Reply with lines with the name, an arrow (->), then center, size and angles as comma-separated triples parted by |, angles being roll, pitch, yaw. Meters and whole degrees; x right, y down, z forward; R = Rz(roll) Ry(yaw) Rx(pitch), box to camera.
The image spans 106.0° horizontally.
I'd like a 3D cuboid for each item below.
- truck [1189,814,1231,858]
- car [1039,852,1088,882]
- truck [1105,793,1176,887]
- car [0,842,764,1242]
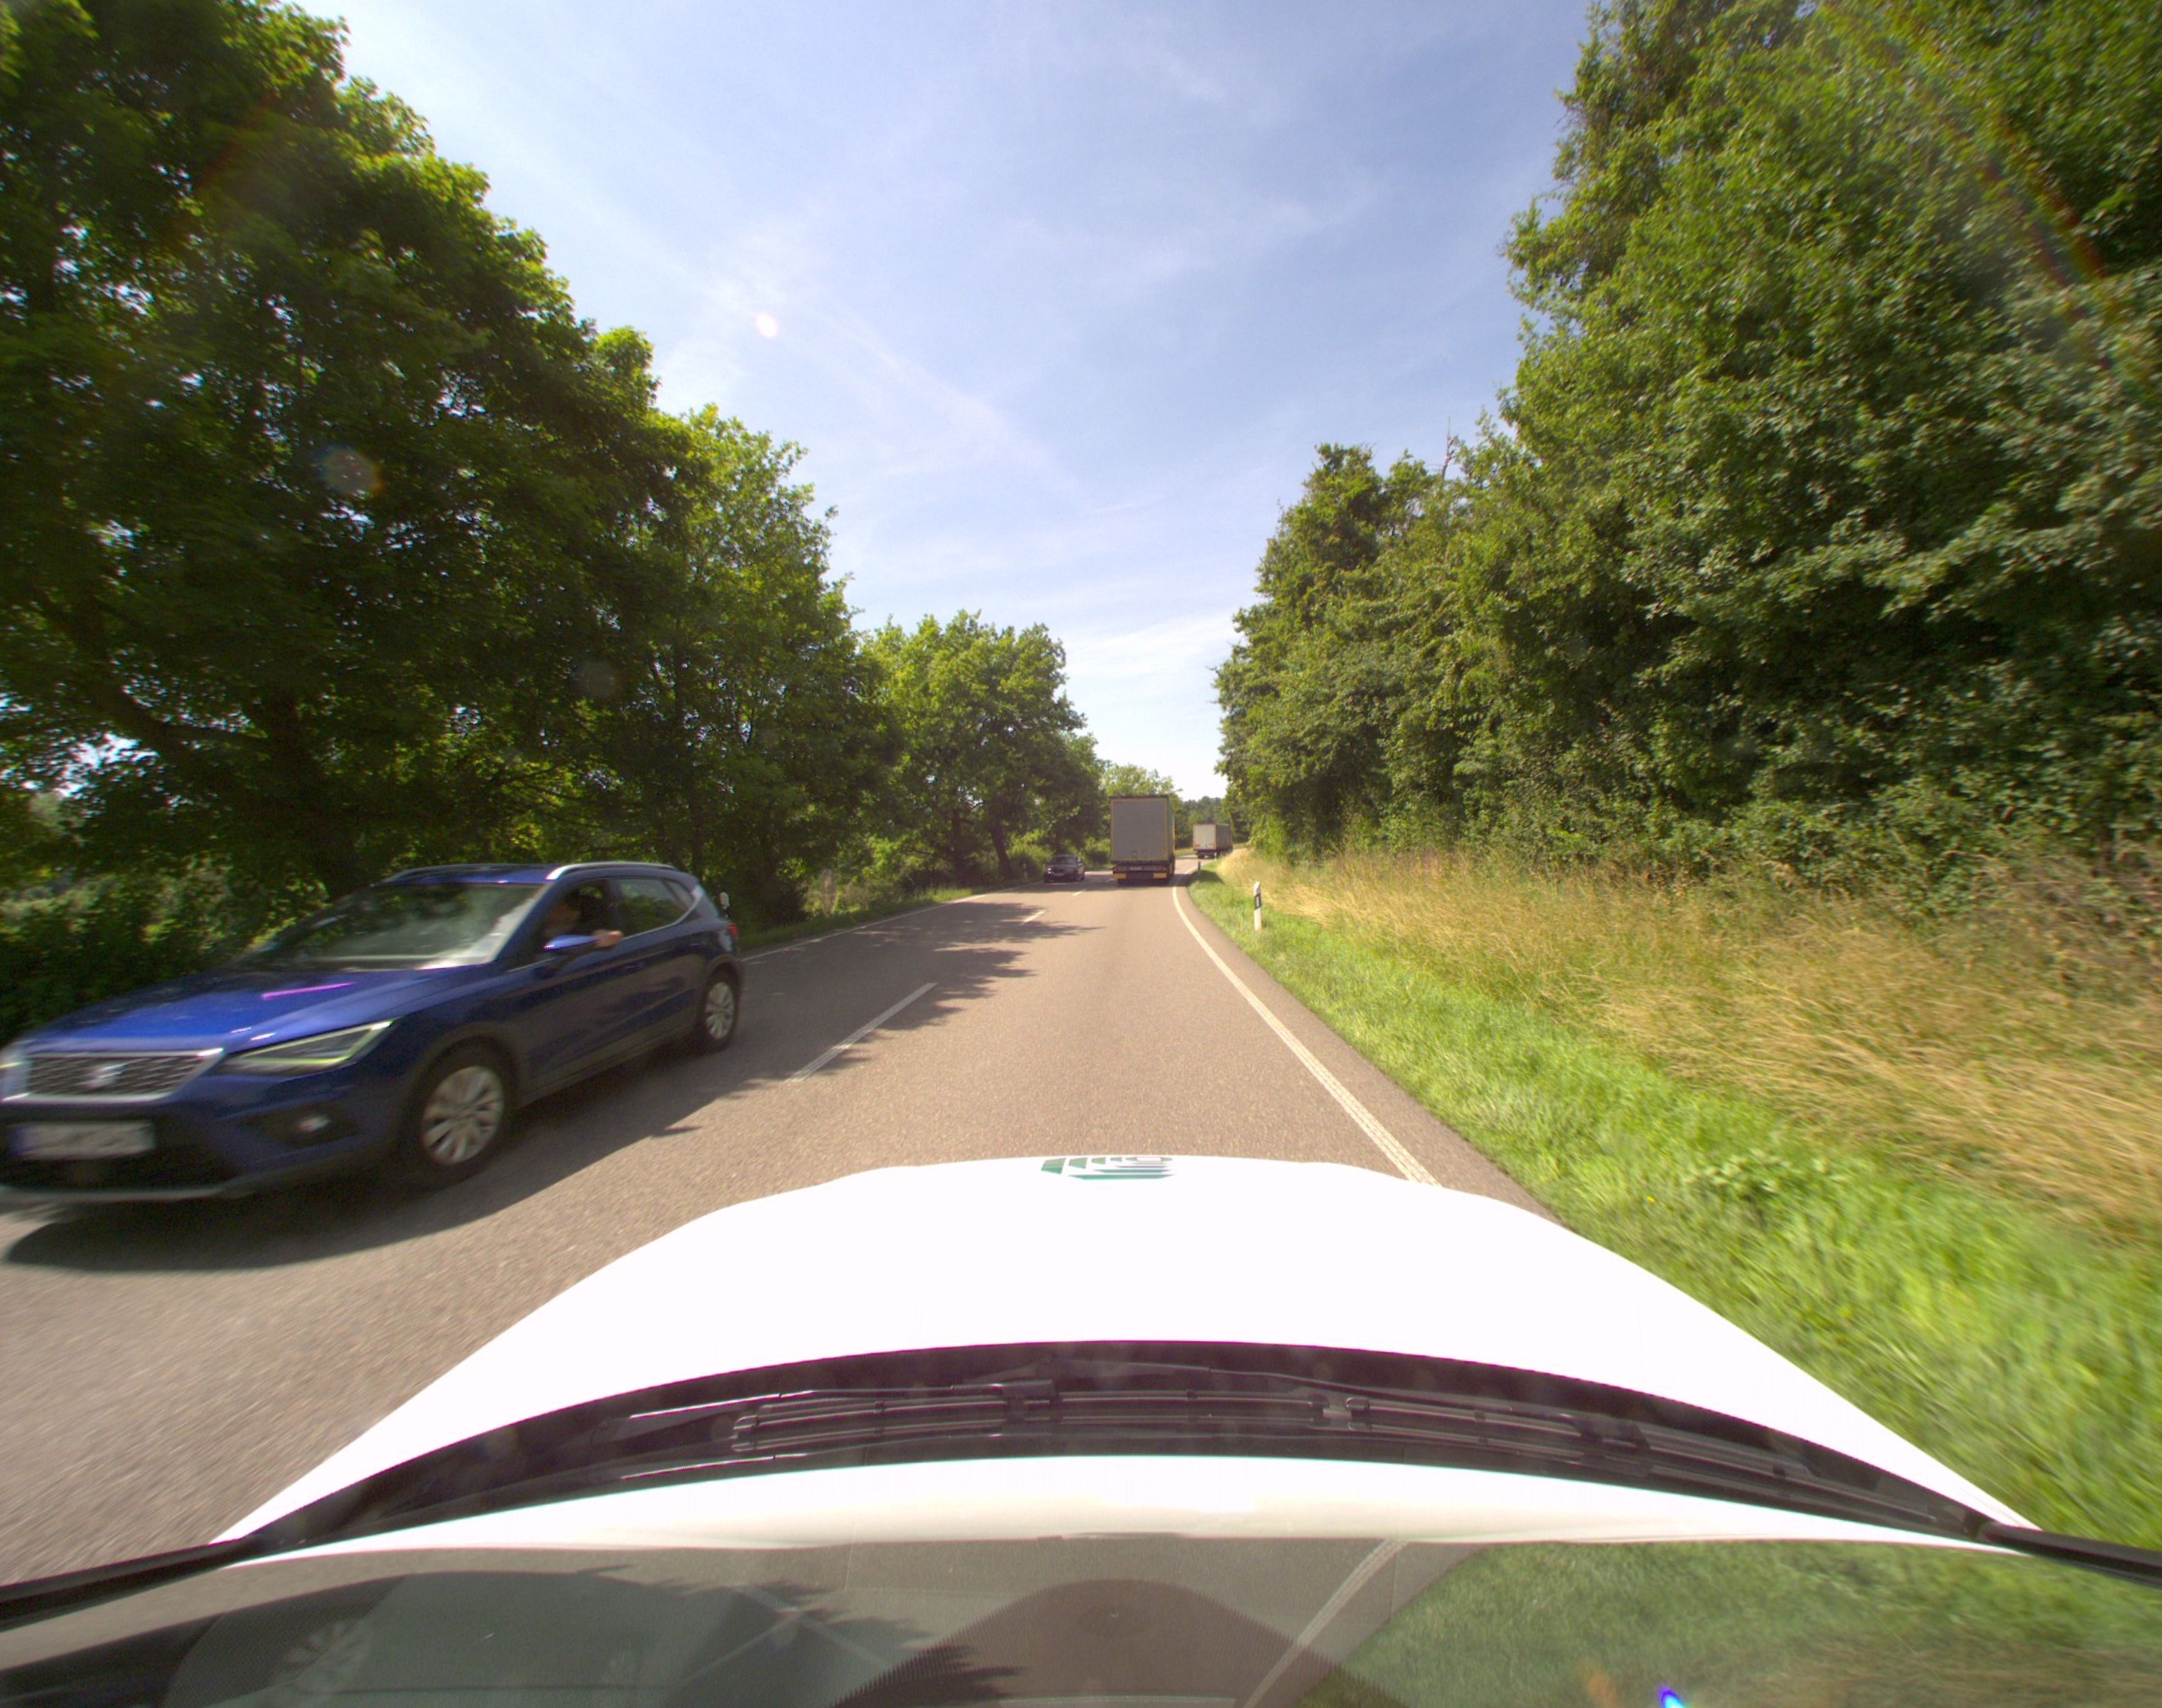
truck -> 15.758, -2.171, 98.137 | 3.082, 4.705, 16.658 | -2, 1, 15
car -> -0.862, 0.659, 42.887 | 1.748, 1.432, 4.281 | -1, 0, 9
truck -> 3.467, -0.729, 43.032 | 2.786, 4.068, 15.359 | 0, 1, 8
car -> -3.716, 0.752, 5.184 | 1.663, 1.531, 3.960 | -2, 0, 2
